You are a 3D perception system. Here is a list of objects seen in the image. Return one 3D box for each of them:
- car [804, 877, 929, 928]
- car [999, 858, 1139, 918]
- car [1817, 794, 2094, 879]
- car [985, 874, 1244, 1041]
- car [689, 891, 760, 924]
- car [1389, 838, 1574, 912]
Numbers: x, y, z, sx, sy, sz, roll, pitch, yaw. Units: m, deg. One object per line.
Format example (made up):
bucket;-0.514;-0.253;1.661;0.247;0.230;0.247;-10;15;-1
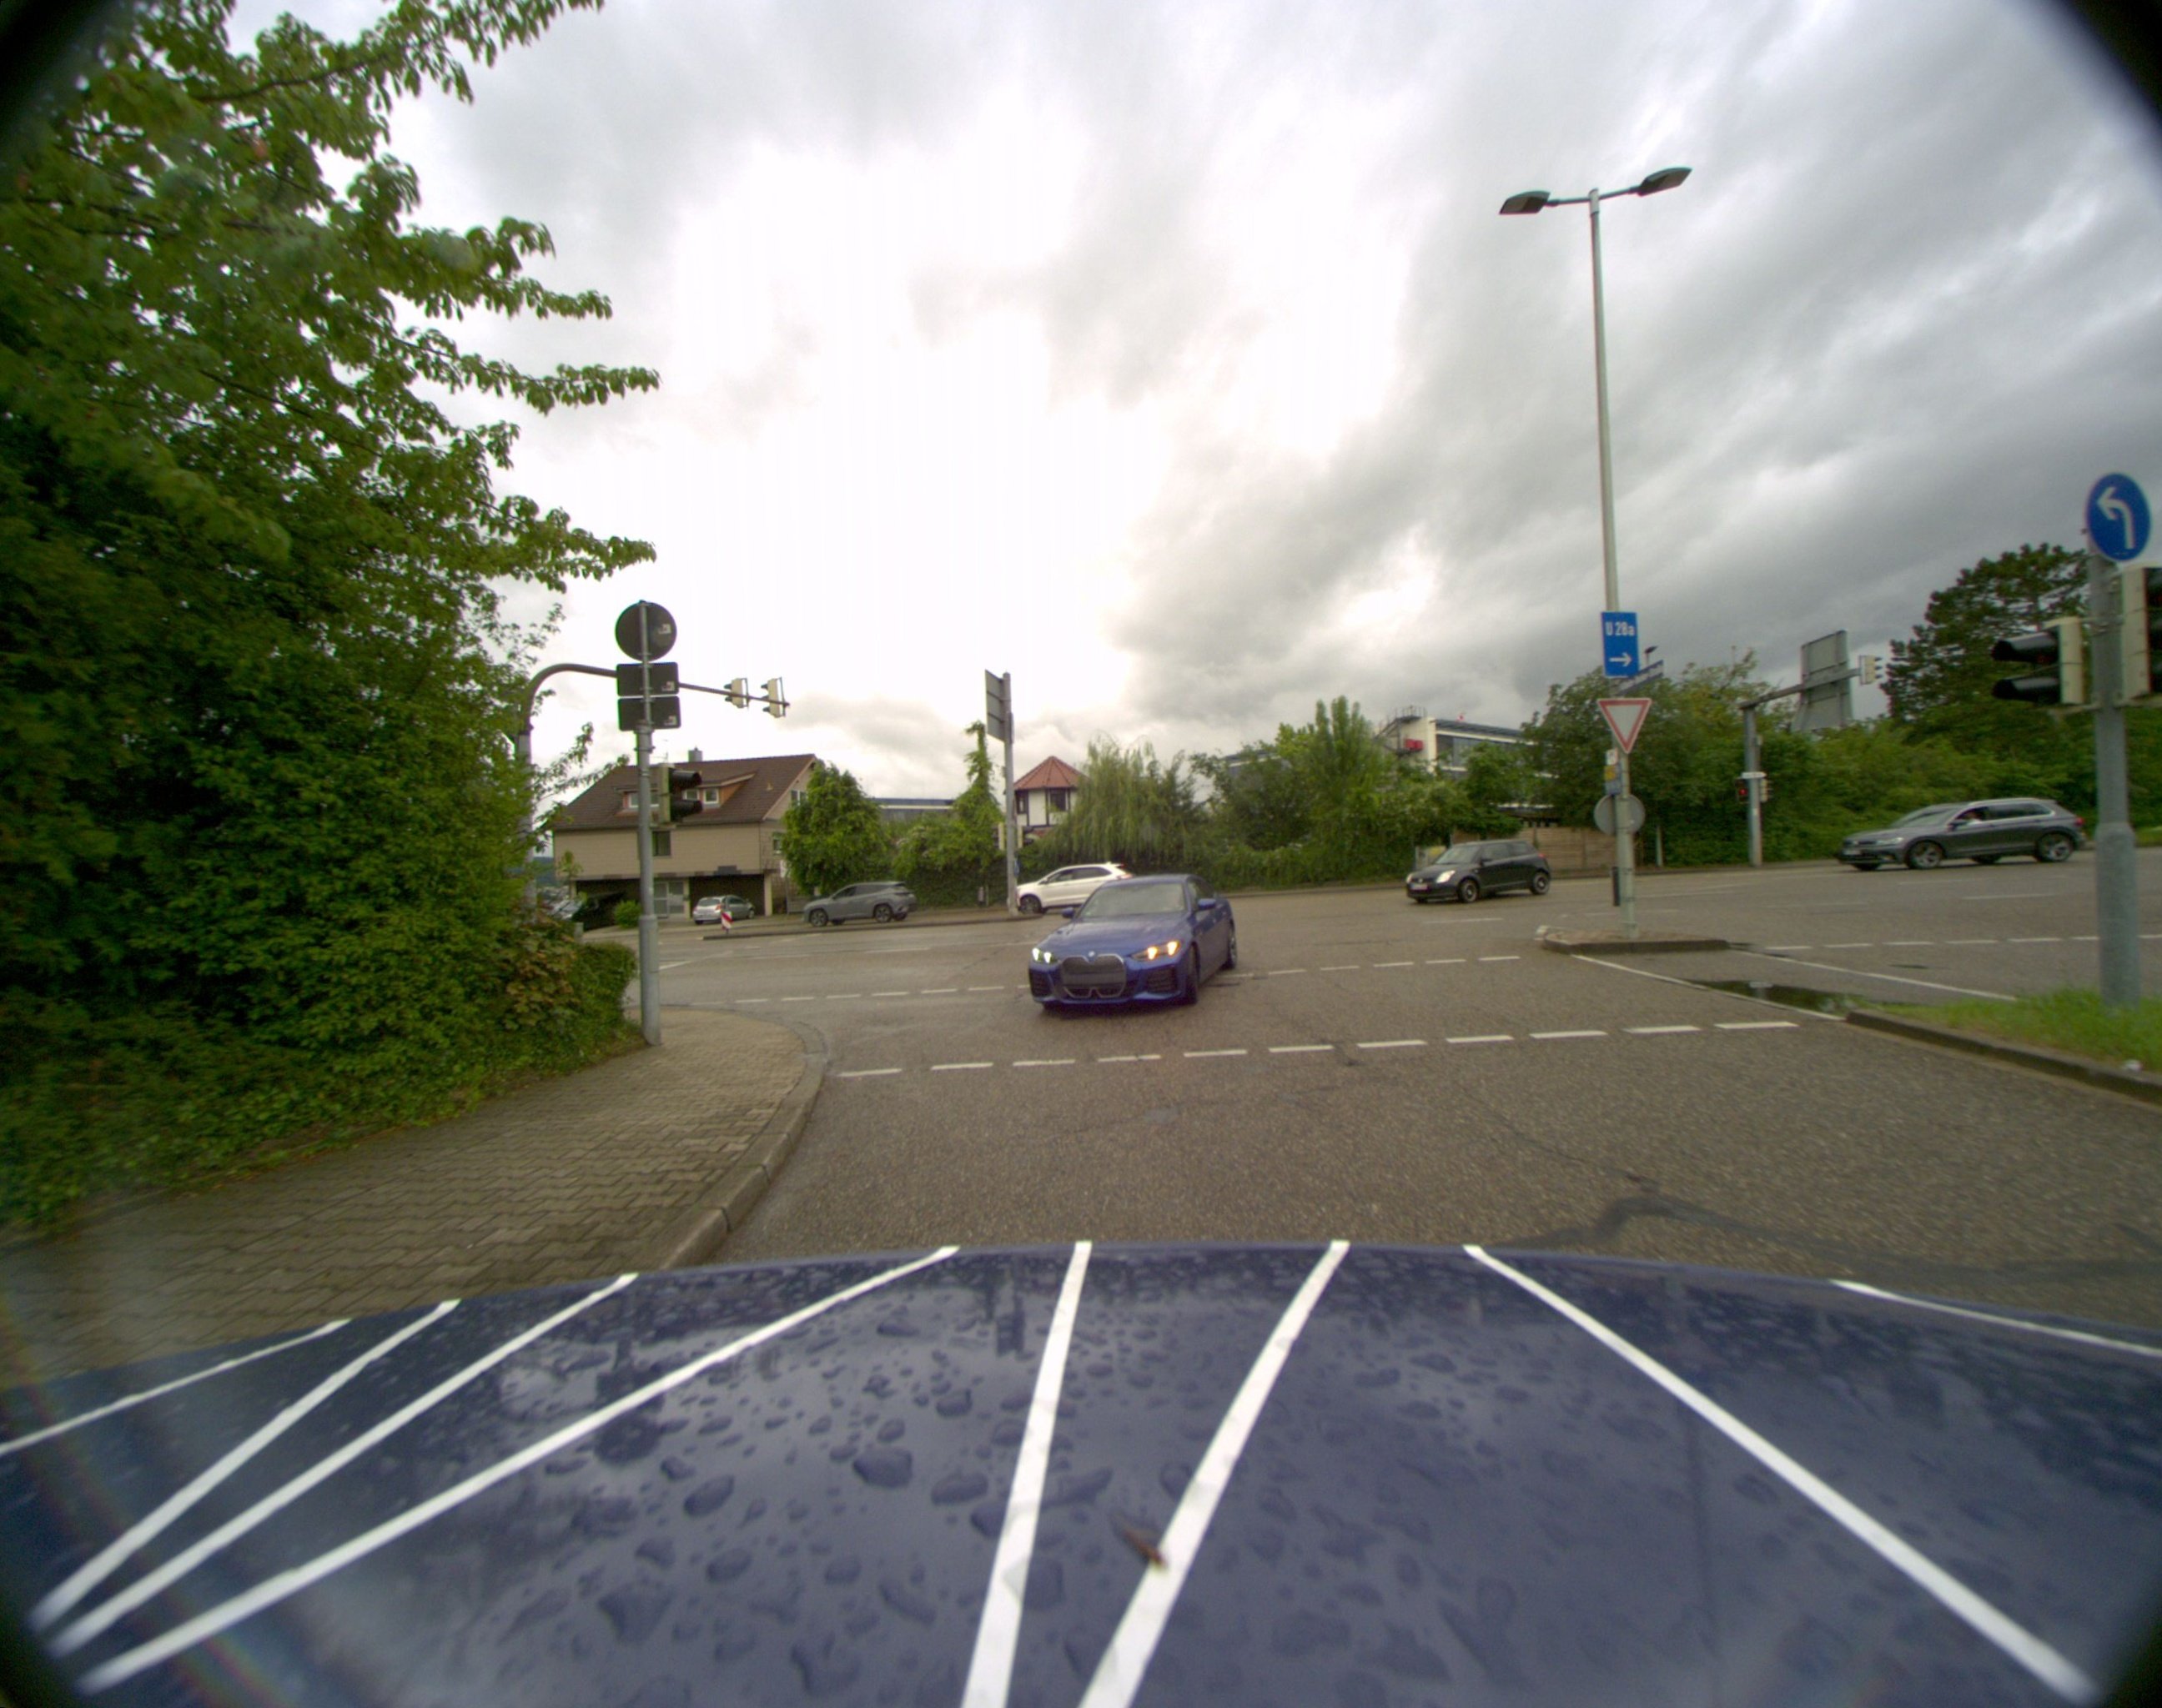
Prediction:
car;-8.624;1.933;30.754;4.329;1.630;1.908;-5;-1;5
car;-0.387;1.206;27.444;4.672;1.779;2.001;-5;-1;8
car;22.283;-0.398;19.589;4.301;1.739;1.971;-5;-1;11
car;0.715;1.123;9.807;1.911;1.487;4.355;-4;-1;22
car;-19.459;2.889;41.679;1.768;1.446;3.575;-2;1;9
car;10.268;0.524;19.577;4.001;1.510;1.746;-4;-1;-15
